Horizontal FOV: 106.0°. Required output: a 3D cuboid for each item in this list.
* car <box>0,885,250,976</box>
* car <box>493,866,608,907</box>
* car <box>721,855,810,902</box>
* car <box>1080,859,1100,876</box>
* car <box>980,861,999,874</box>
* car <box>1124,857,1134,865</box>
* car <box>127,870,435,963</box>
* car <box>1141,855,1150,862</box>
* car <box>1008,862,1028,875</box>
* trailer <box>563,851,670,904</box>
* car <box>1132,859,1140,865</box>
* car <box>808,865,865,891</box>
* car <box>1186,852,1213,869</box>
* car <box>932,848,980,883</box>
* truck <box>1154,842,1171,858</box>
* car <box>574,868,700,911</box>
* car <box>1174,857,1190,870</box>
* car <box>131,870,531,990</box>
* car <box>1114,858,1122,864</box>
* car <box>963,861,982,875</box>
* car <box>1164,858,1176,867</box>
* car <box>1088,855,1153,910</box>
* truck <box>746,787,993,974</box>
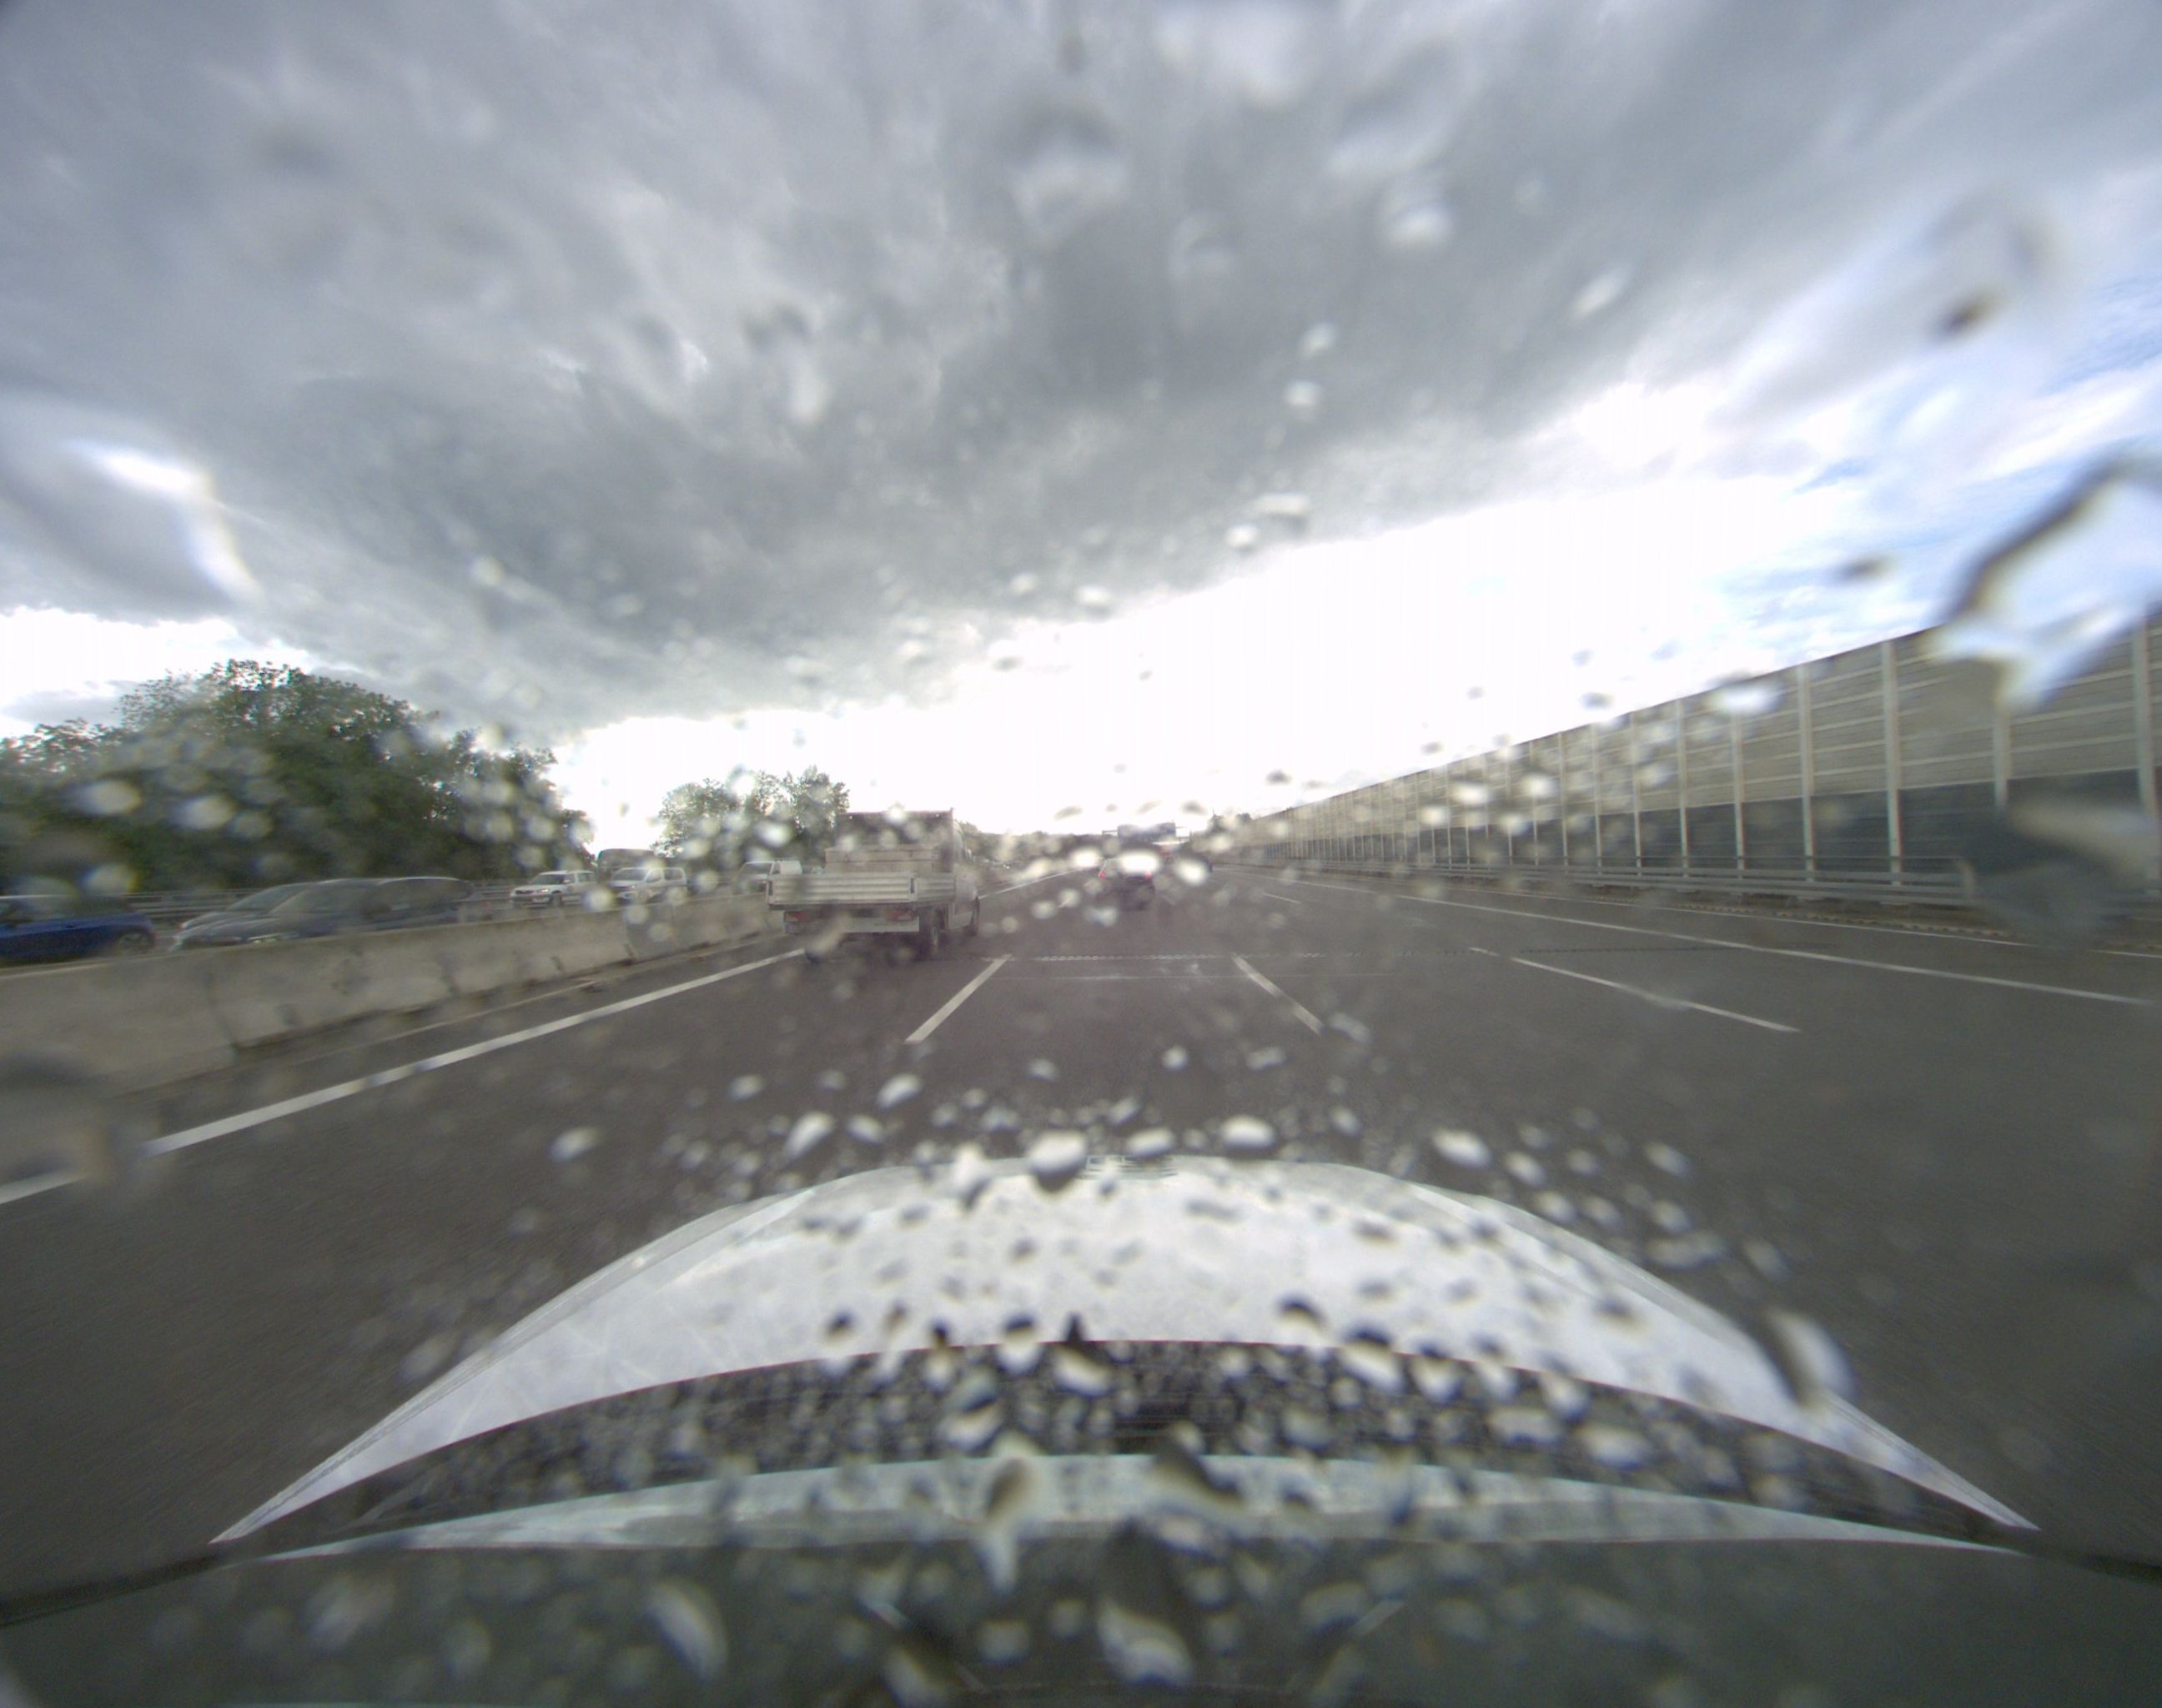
[{"bbox_3d":[-20.717,1.507,16.468,2.052,1.535,5.473,-2,0,3],"label":"car"},{"bbox_3d":[-23.904,1.438,36.938,2.052,1.645,4.522,-2,0,2],"label":"car"},{"bbox_3d":[-16.167,1.190,42.120,2.052,2.236,5.898,-2,0,3],"label":"car"},{"bbox_3d":[0.950,1.393,85.695,1.709,1.624,4.284,-1,0,4],"label":"car"},{"bbox_3d":[-12.105,1.775,108.186,1.715,1.646,4.524,0,-1,5],"label":"car"},{"bbox_3d":[9.565,1.406,163.144,1.960,1.561,4.436,-2,-1,3],"label":"car"},{"bbox_3d":[-16.908,1.219,17.636,2.052,1.645,4.522,-2,0,2],"label":"car"},{"bbox_3d":[15.382,1.017,193.774,1.960,1.561,4.435,-2,-1,2],"label":"car"},{"bbox_3d":[-7.976,1.794,103.159,1.715,1.646,5.068,0,-1,5],"label":"car"},{"bbox_3d":[-23.700,1.133,41.854,2.191,2.484,5.232,-2,0,3],"label":"trailer"},{"bbox_3d":[15.093,2.156,225.096,1.961,1.561,4.434,-2,-1,1],"label":"car"},{"bbox_3d":[-15.581,1.512,52.218,2.052,1.535,4.522,-2,0,2],"label":"car"},{"bbox_3d":[10.370,0.555,71.475,1.941,1.418,4.236,-2,-1,3],"label":"car"},{"bbox_3d":[-10.791,0.878,71.257,2.221,2.749,9.173,-2,1,4],"label":"car"},{"bbox_3d":[18.940,-0.926,189.239,3.140,3.601,12.707,0,0,3],"label":"truck"},{"bbox_3d":[-19.728,1.501,36.640,2.052,1.645,6.124,-2,0,3],"label":"car"},{"bbox_3d":[13.325,1.238,107.756,1.874,1.542,4.437,-2,-1,4],"label":"car"},{"bbox_3d":[-12.901,1.174,14.713,2.052,1.645,5.383,-2,0,3],"label":"car"},{"bbox_3d":[8.906,1.705,196.880,1.960,1.561,4.436,-2,-1,3],"label":"car"},{"bbox_3d":[-15.473,2.049,116.372,1.681,1.936,5.552,0,-1,3],"label":"car"},{"bbox_3d":[15.737,1.561,144.249,1.875,1.561,4.436,-2,-1,3],"label":"car"},{"bbox_3d":[1.154,0.775,24.046,1.710,1.417,4.281,-1,0,3],"label":"car"},{"bbox_3d":[-3.207,0.336,14.436,2.298,2.439,7.151,-1,0,1],"label":"truck"}]
